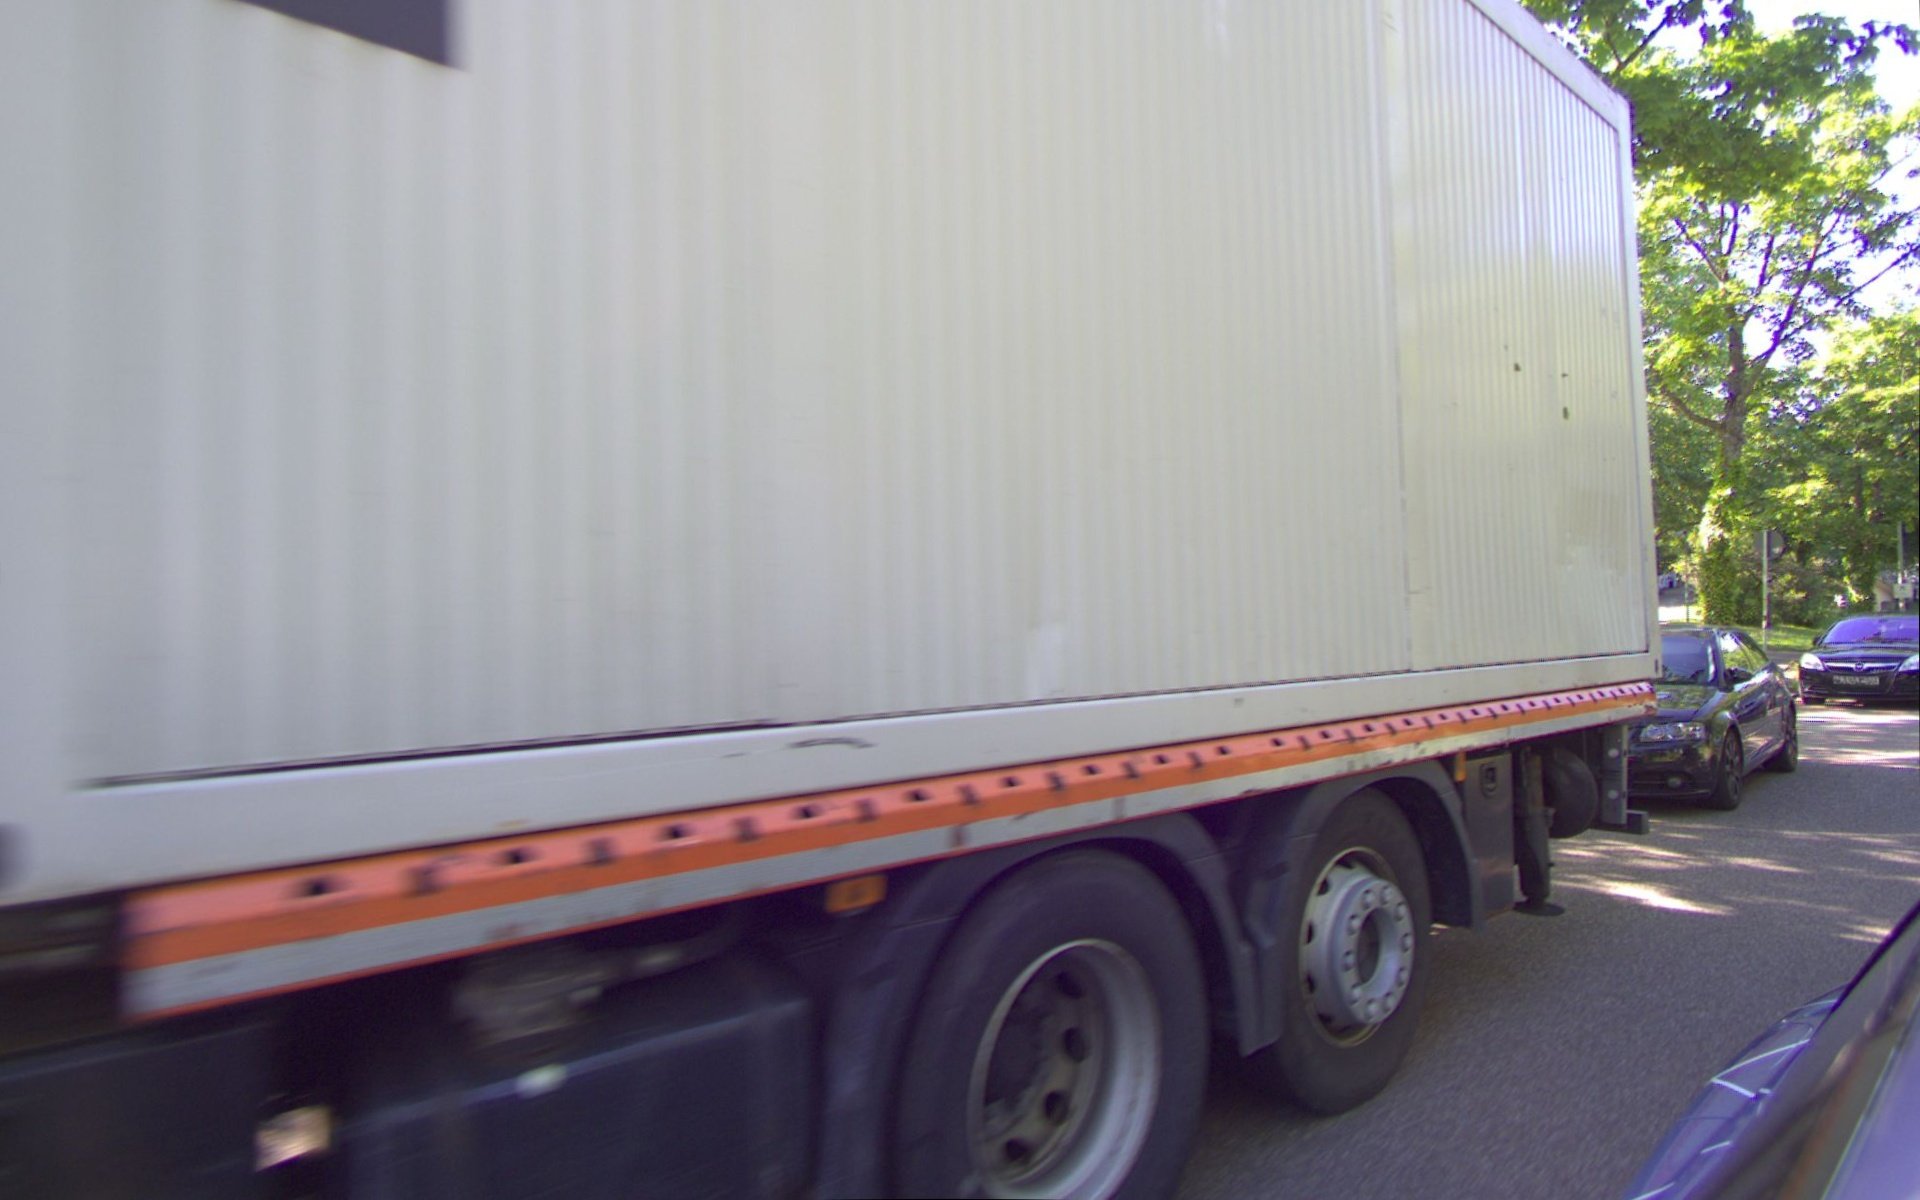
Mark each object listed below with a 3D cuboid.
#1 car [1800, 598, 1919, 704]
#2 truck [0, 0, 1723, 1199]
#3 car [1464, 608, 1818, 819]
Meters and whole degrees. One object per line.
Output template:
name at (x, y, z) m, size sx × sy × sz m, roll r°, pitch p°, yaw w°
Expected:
car at (15.007, 0.735, 16.017) m, size 3.956 × 1.499 × 1.752 m, roll -1°, pitch -2°, yaw -37°
truck at (-1.251, -0.485, 2.703) m, size 10.163 × 4.048 × 2.777 m, roll 0°, pitch -3°, yaw -40°
car at (6.119, 0.825, 8.916) m, size 3.931 × 1.438 × 1.641 m, roll 0°, pitch -3°, yaw -42°
